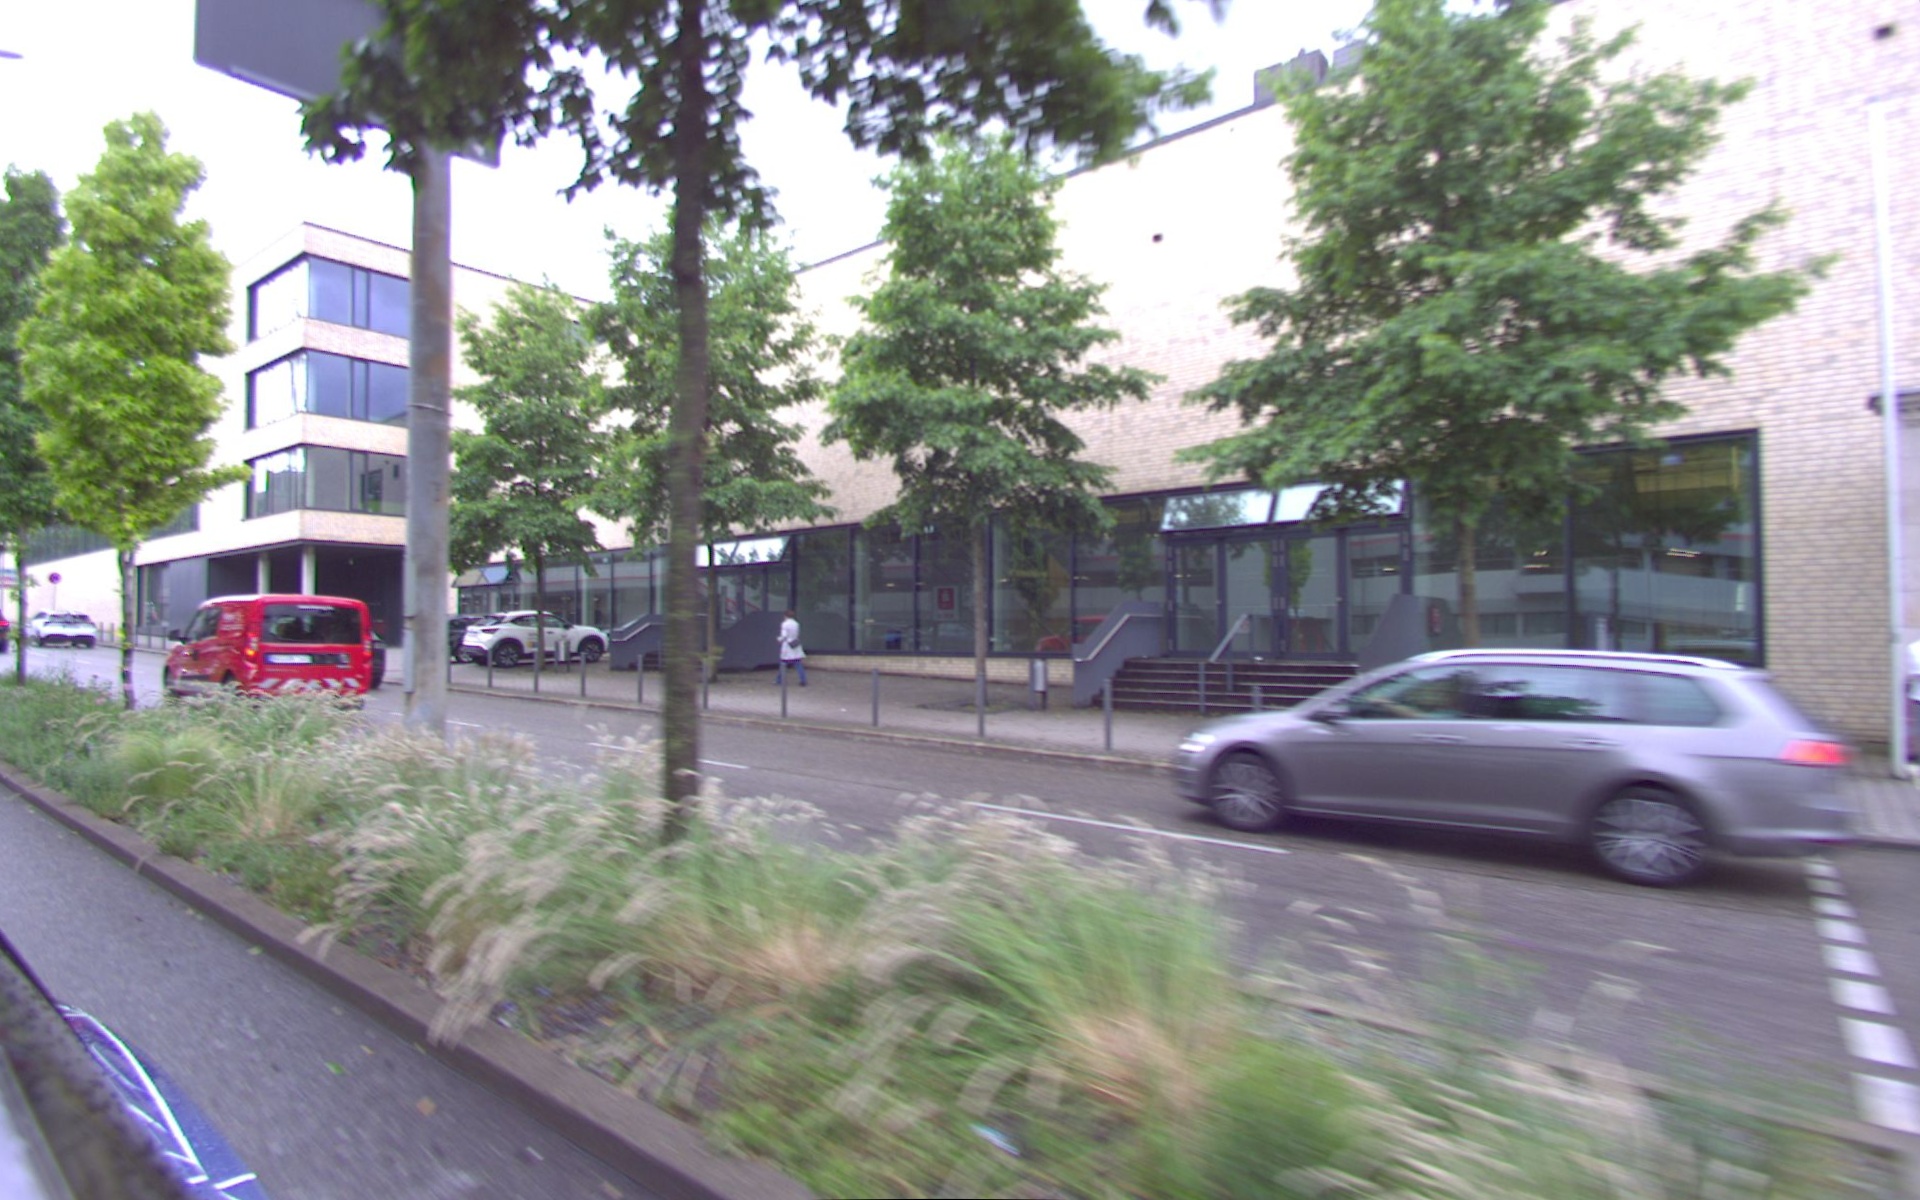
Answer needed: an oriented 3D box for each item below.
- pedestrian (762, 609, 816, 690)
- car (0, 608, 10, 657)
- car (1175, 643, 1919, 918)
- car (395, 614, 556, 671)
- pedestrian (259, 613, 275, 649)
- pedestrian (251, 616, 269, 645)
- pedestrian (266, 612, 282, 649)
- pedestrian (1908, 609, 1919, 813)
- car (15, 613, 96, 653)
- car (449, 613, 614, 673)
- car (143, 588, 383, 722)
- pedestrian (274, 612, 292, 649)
[{"bbox_3d":[-3.695,1.054,21.873,1.016,1.678,0.637,1,1,35],"label":"pedestrian"},{"bbox_3d":[-34.140,1.067,34.608,4.226,1.638,1.716,0,-4,38],"label":"car"},{"bbox_3d":[4.013,1.065,7.492,4.431,1.440,1.828,-2,-4,40],"label":"car"},{"bbox_3d":[-15.102,1.268,31.762,1.995,1.506,4.141,1,1,34],"label":"car"},{"bbox_3d":[-29.351,1.295,42.857,0.462,1.486,0.445,1,1,35],"label":"pedestrian"},{"bbox_3d":[-30.027,1.297,43.397,0.422,1.224,0.542,1,1,43],"label":"pedestrian"},{"bbox_3d":[-28.652,1.273,42.272,0.462,1.486,0.445,1,1,35],"label":"pedestrian"},{"bbox_3d":[8.237,0.913,8.227,0.690,1.668,0.605,-1,-3,38],"label":"pedestrian"},{"bbox_3d":[-37.030,1.338,41.406,4.226,1.480,1.716,0,-4,38],"label":"car"},{"bbox_3d":[-12.835,1.220,30.460,2.000,1.559,4.132,1,1,42],"label":"car"},{"bbox_3d":[-11.308,0.819,16.284,4.786,1.868,1.775,0,-3,38],"label":"car"},{"bbox_3d":[-28.073,1.262,41.957,0.527,1.486,0.437,1,1,35],"label":"pedestrian"}]
